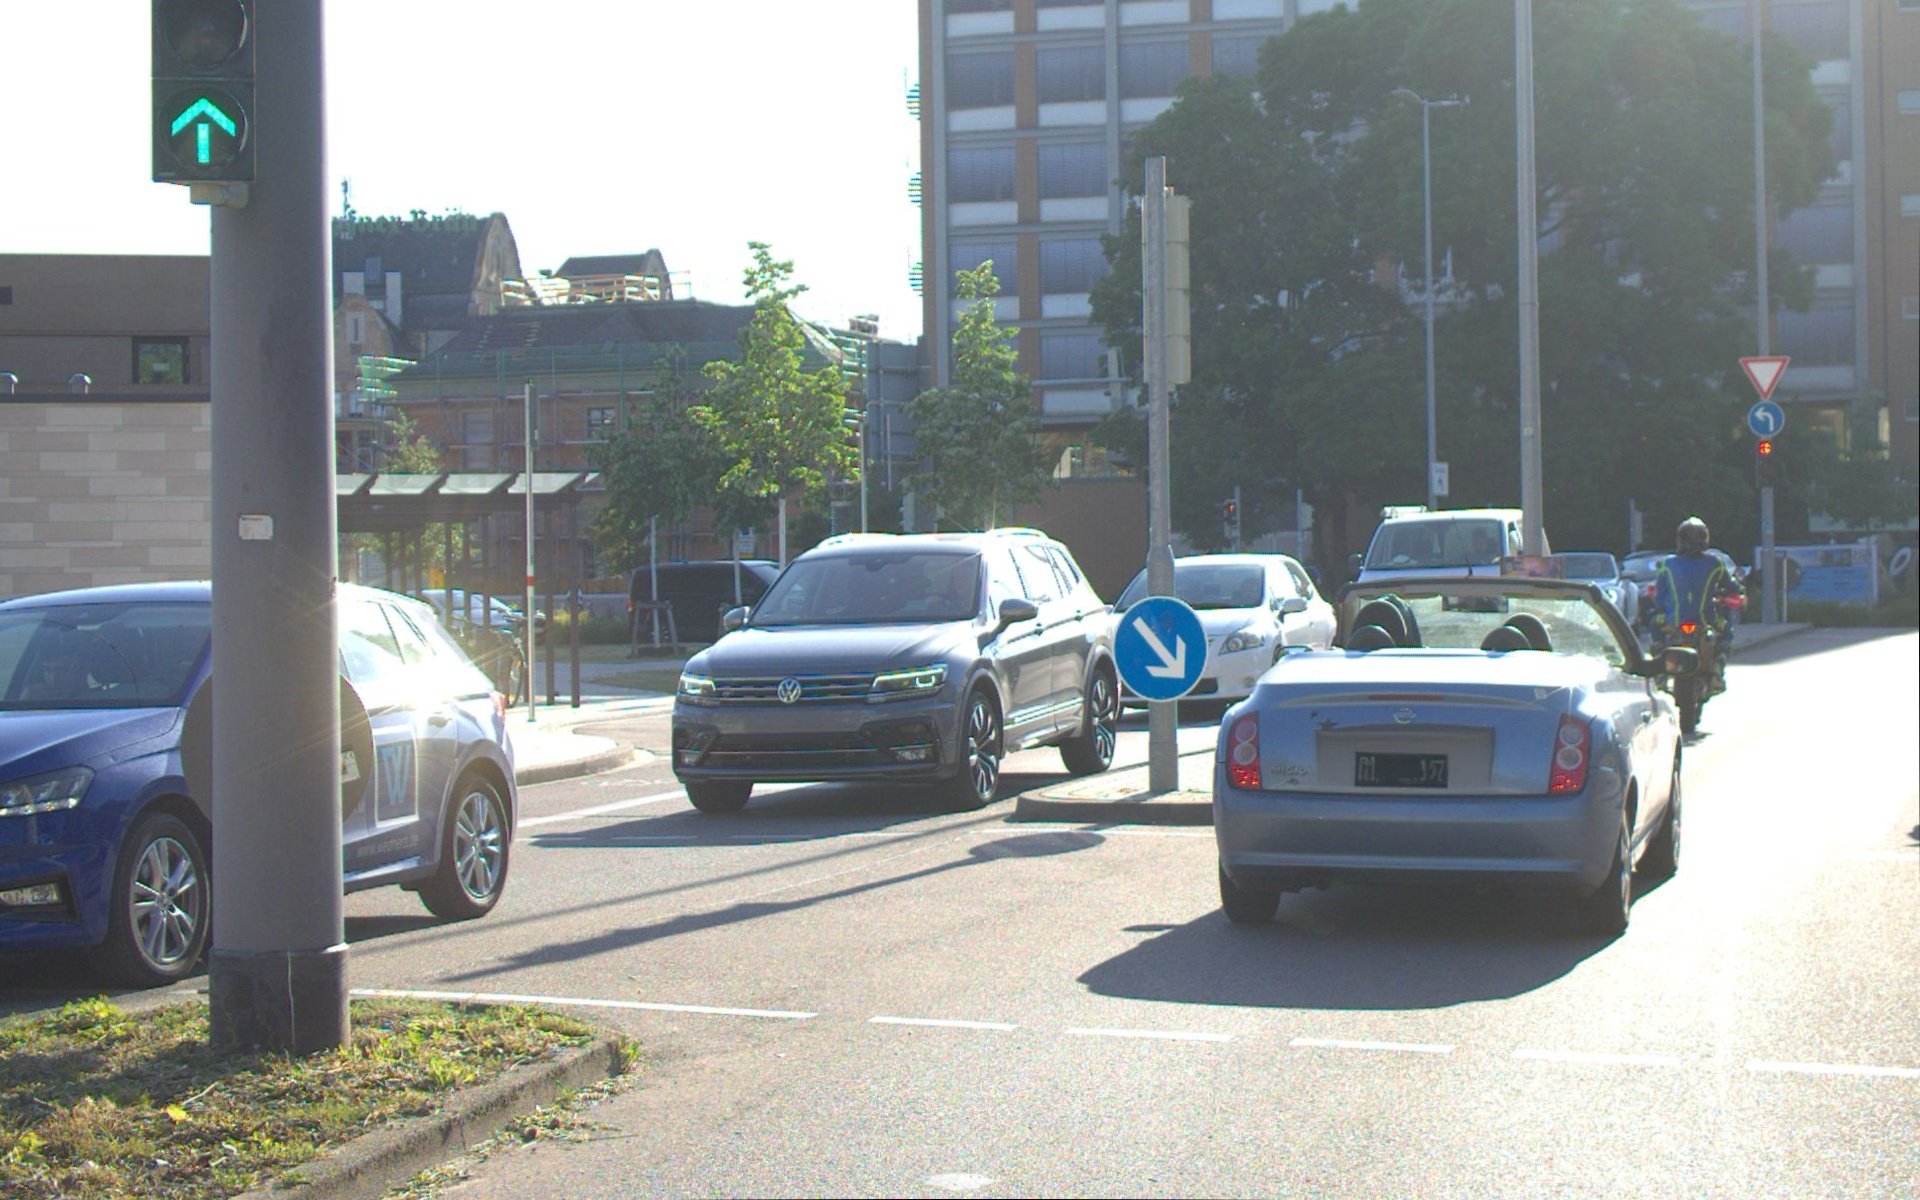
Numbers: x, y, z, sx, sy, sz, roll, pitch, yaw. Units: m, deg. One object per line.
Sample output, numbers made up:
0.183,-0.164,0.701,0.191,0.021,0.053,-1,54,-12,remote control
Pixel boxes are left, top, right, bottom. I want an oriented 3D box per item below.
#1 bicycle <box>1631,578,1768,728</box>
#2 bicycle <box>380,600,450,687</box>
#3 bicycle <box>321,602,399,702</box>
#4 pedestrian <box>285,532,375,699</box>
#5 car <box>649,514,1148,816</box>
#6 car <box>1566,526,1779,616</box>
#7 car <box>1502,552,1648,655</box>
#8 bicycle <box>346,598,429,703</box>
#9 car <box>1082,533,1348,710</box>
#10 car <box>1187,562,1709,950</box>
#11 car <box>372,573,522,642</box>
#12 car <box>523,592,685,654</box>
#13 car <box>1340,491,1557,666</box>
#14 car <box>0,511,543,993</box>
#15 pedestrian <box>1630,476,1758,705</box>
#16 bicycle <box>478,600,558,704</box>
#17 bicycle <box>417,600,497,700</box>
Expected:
6.185,0.429,28.664,0.608,1.187,2.411,1,0,24,bicycle
-7.245,0.563,45.648,0.606,1.111,1.897,1,0,-18,bicycle
-6.922,0.585,39.603,0.606,1.111,1.897,1,0,-18,bicycle
-7.175,0.176,39.148,0.900,1.862,0.687,1,0,-18,pedestrian
-0.261,0.359,22.074,1.763,1.700,4.526,-2,0,18,car
13.153,-0.537,63.326,3.989,1.525,1.804,-2,0,-42,car
9.839,0.032,54.843,1.800,1.525,3.997,-2,0,17,car
-6.291,0.541,37.723,0.606,1.111,1.897,1,0,-18,bicycle
2.465,0.167,32.414,1.696,1.555,3.977,-1,1,16,car
2.286,0.592,15.160,1.661,1.436,4.151,1,0,17,car
-12.042,0.171,80.598,1.640,1.555,3.598,-1,1,-45,car
-9.623,0.618,92.905,3.991,1.568,1.734,1,0,22,car
5.998,-0.276,41.786,1.910,1.939,4.703,-2,0,16,car
-3.251,0.542,13.334,1.738,1.569,3.921,-3,-1,17,car
6.097,-0.080,28.532,0.834,1.862,0.919,1,0,24,pedestrian
-4.916,0.564,38.157,0.606,1.111,1.897,1,0,-15,bicycle
-5.877,0.571,40.093,0.606,1.111,1.897,1,0,-18,bicycle
